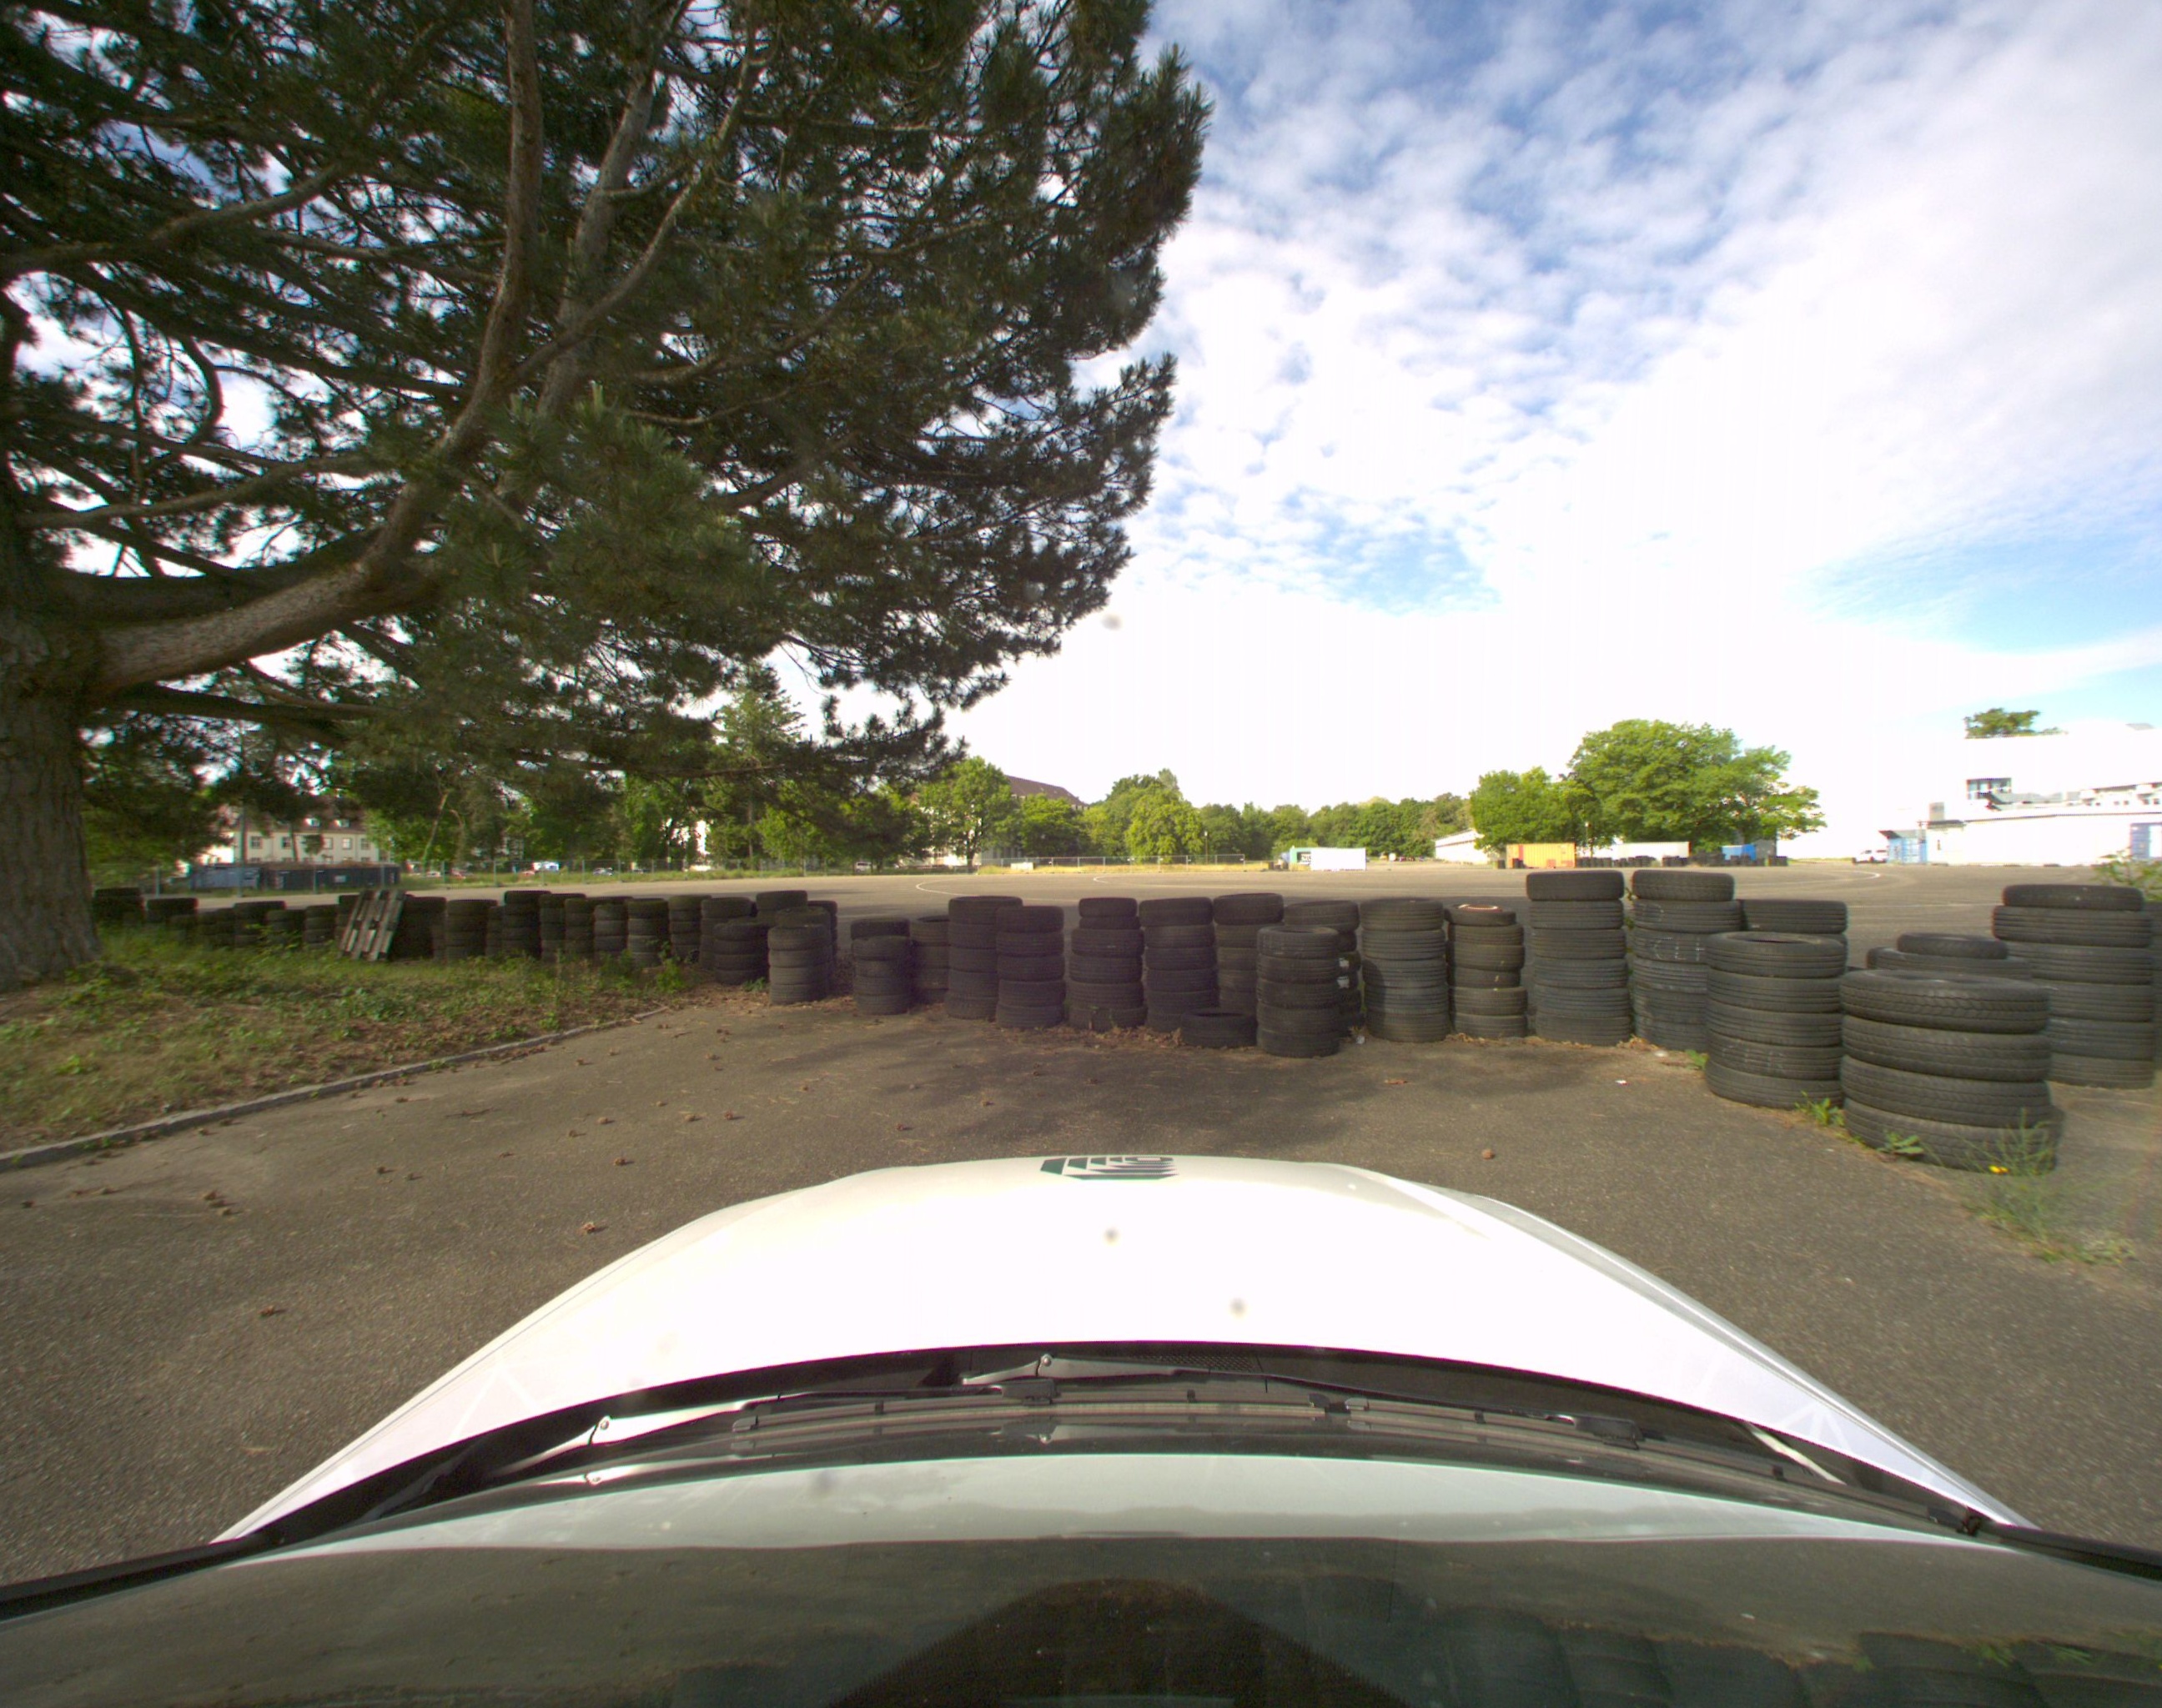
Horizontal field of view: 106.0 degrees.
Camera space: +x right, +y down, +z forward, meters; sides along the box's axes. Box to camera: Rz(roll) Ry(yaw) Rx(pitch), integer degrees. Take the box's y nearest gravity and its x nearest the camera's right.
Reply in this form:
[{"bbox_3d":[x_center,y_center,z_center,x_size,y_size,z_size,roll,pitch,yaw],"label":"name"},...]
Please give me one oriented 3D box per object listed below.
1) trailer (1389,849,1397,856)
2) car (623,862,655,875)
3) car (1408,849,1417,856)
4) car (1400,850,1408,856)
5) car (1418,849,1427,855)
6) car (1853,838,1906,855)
[{"bbox_3d":[89.053,-0.367,232.452,2.041,2.013,4.019,-1,0,18],"label":"trailer"},{"bbox_3d":[-60.651,2.022,111.809,3.949,1.750,2.012,-1,0,30],"label":"car"},{"bbox_3d":[93.385,-0.360,229.414,2.015,1.808,4.018,-1,0,17],"label":"car"},{"bbox_3d":[91.194,-0.284,229.969,1.978,1.750,4.018,-1,0,17],"label":"car"},{"bbox_3d":[95.765,-0.507,228.597,1.978,1.750,4.018,-1,0,17],"label":"car"},{"bbox_3d":[78.063,-0.682,79.685,1.854,1.564,4.568,-1,0,18],"label":"car"}]
